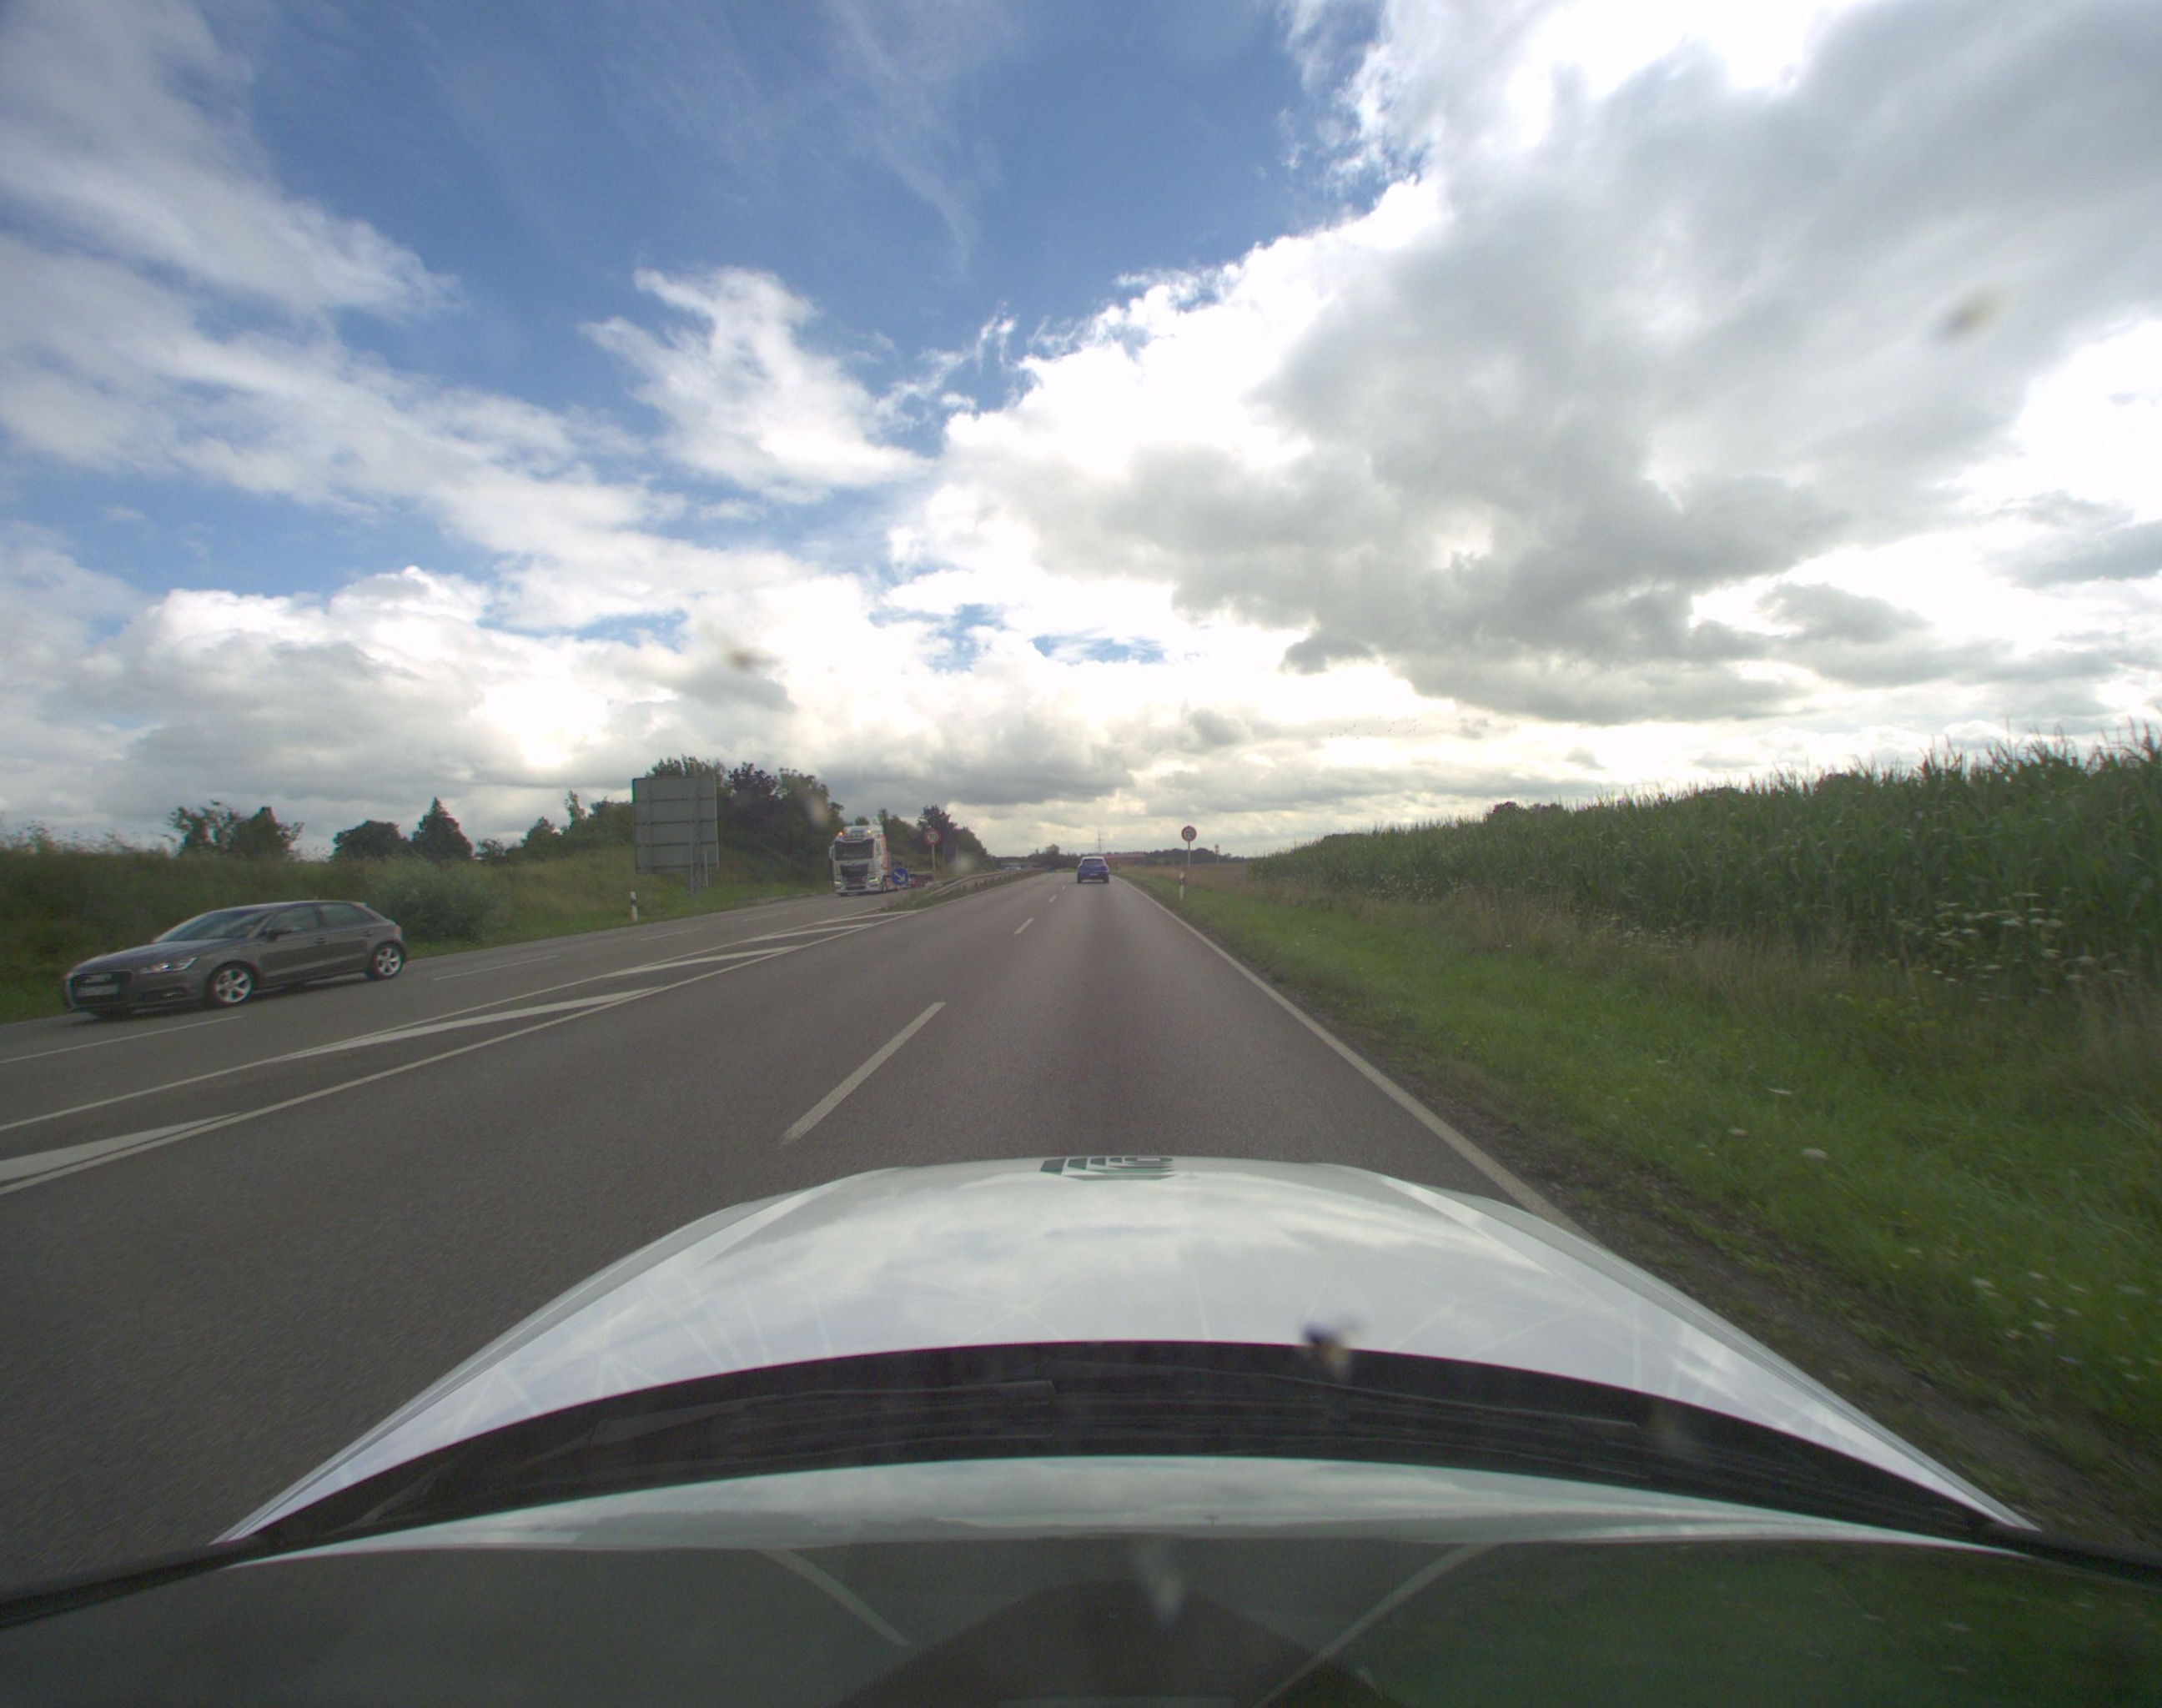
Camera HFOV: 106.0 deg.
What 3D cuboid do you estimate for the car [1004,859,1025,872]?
[{"bbox_3d":[-8.233,1.409,101.052,2.078,1.519,4.194,-2,0,1],"label":"car"}]

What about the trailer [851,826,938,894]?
[{"bbox_3d":[-12.167,0.341,54.722,2.766,3.947,12.982,-2,0,0],"label":"trailer"}]

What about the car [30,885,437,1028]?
[{"bbox_3d":[-12.410,1.379,12.434,1.727,1.530,4.193,-4,0,0],"label":"car"}]

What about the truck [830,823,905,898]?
[{"bbox_3d":[-12.172,0.359,46.938,2.794,3.997,5.286,-2,0,0],"label":"truck"}]

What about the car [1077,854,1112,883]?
[{"bbox_3d":[0.794,0.861,50.381,2.026,1.660,4.542,-1,-1,0],"label":"car"}]
